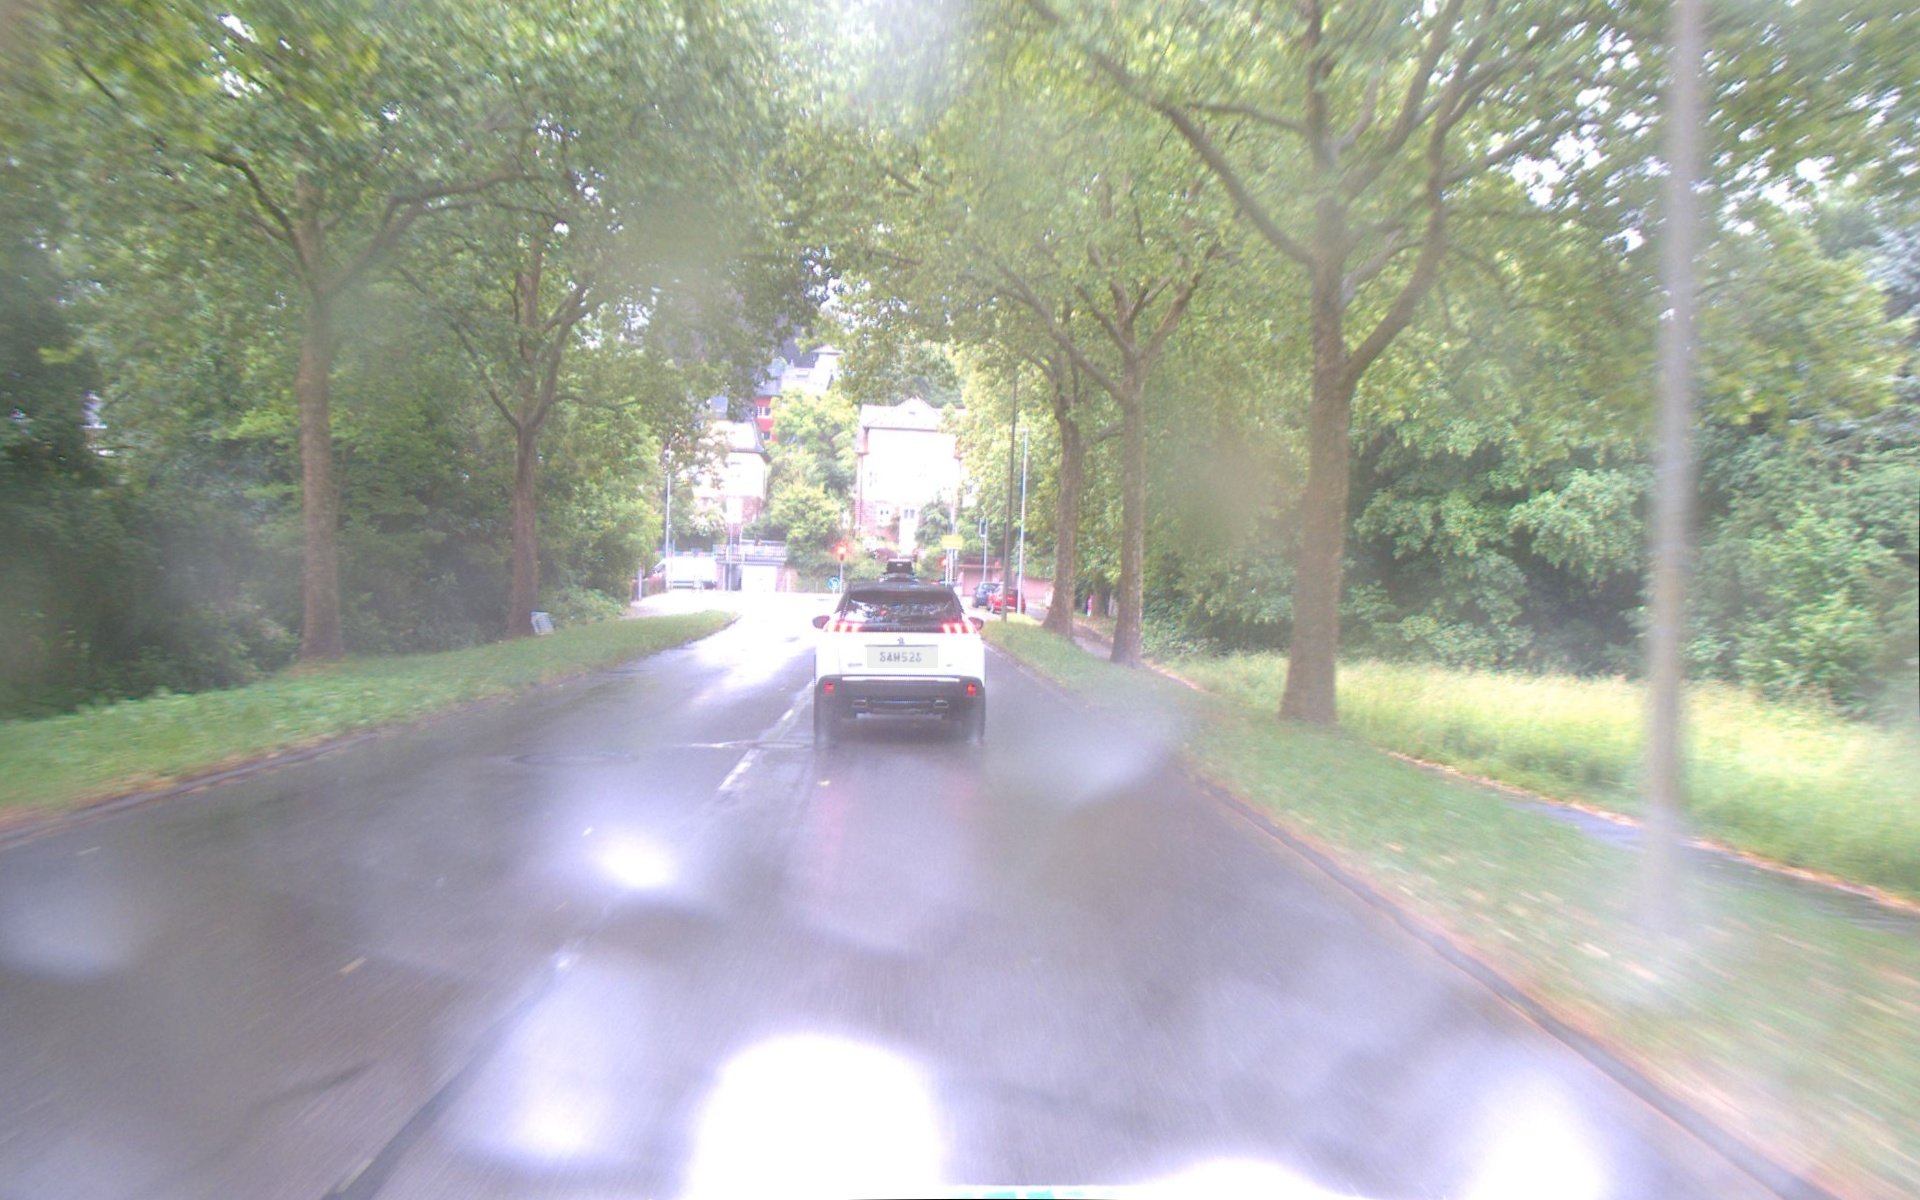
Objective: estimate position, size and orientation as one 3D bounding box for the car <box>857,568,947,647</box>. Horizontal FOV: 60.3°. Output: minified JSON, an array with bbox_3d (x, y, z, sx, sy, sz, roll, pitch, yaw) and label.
[{"bbox_3d":[-1.311,0.115,37.142,1.795,1.481,4.657,4,2,-2],"label":"car"}]

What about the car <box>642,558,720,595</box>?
[{"bbox_3d":[-21.468,-1.806,127.480,5.547,2.537,2.315,3,-1,-2],"label":"car"}]

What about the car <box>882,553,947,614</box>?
[{"bbox_3d":[-1.476,-0.553,51.852,1.726,1.740,4.597,3,1,-5],"label":"car"}]

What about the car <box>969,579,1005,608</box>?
[{"bbox_3d":[1.547,-0.373,96.236,1.715,1.517,3.597,4,0,-3],"label":"car"}]

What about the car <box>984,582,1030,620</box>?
[{"bbox_3d":[2.433,0.029,86.473,1.786,1.542,3.740,9,2,-6],"label":"car"}]

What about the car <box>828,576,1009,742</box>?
[{"bbox_3d":[-0.513,0.537,18.045,1.717,1.562,4.365,1,1,-3],"label":"car"}]
